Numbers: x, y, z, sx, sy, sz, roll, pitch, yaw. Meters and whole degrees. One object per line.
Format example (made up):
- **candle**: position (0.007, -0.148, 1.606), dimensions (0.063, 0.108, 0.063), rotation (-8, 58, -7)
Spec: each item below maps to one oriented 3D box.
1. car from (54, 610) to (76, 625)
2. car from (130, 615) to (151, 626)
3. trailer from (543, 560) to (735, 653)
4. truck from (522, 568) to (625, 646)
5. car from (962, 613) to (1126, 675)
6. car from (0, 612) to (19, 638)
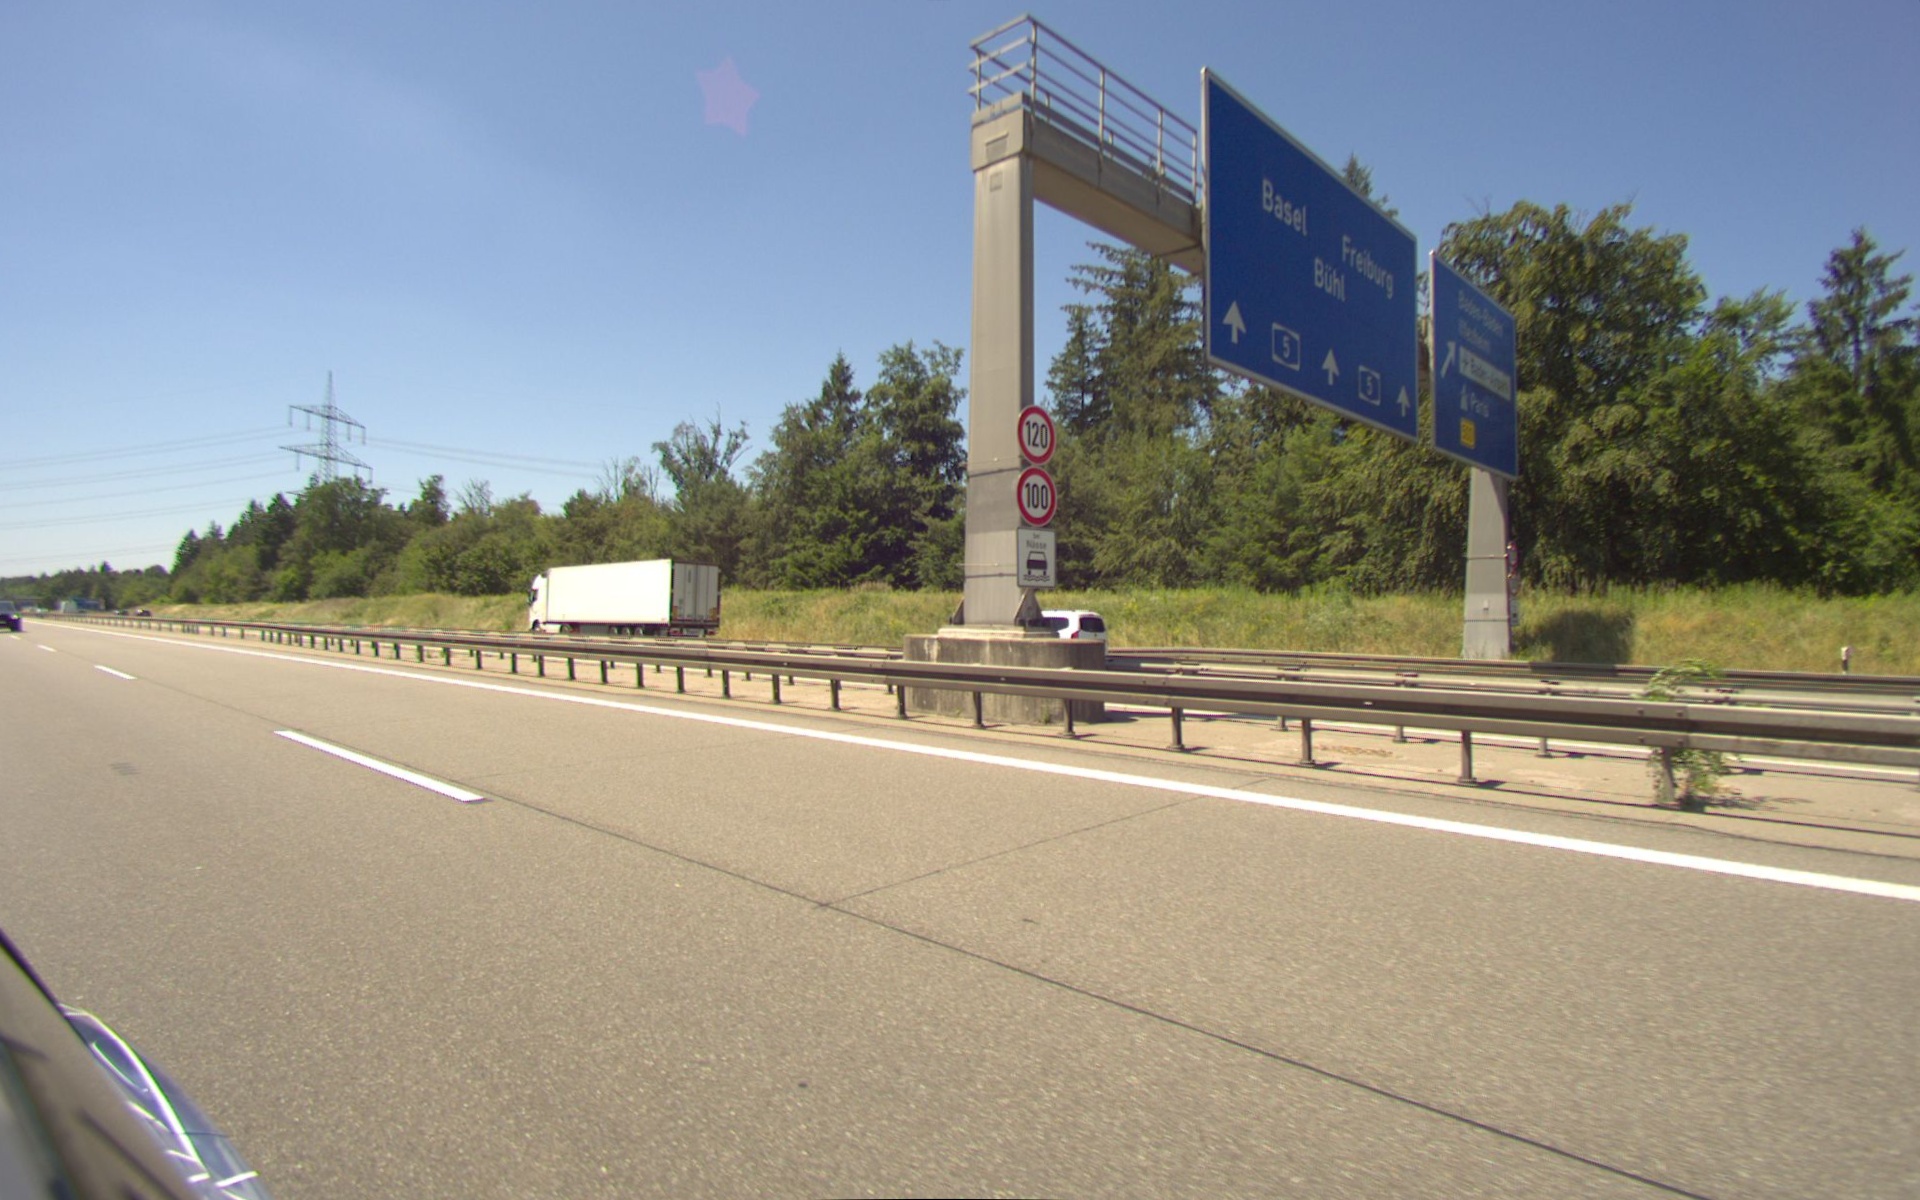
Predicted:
- **car**: position (-165.915, 3.209, 187.595), dimensions (6.875, 2.732, 2.317), rotation (-1, -3, 44)
- **car**: position (-120.909, 2.984, 149.317), dimensions (4.744, 1.521, 1.806), rotation (-1, -1, 43)
- **trailer**: position (-16.581, 0.348, 50.993), dimensions (3.177, 4.073, 14.371), rotation (0, 0, -44)
- **truck**: position (-21.456, 0.406, 56.044), dimensions (3.177, 4.048, 6.220), rotation (0, -1, -44)
- **car**: position (2.552, 1.288, 31.627), dimensions (4.992, 1.763, 1.971), rotation (-1, 0, 44)
- **car**: position (-54.045, 1.402, 56.673), dimensions (1.872, 1.436, 4.265), rotation (-1, 0, -44)
